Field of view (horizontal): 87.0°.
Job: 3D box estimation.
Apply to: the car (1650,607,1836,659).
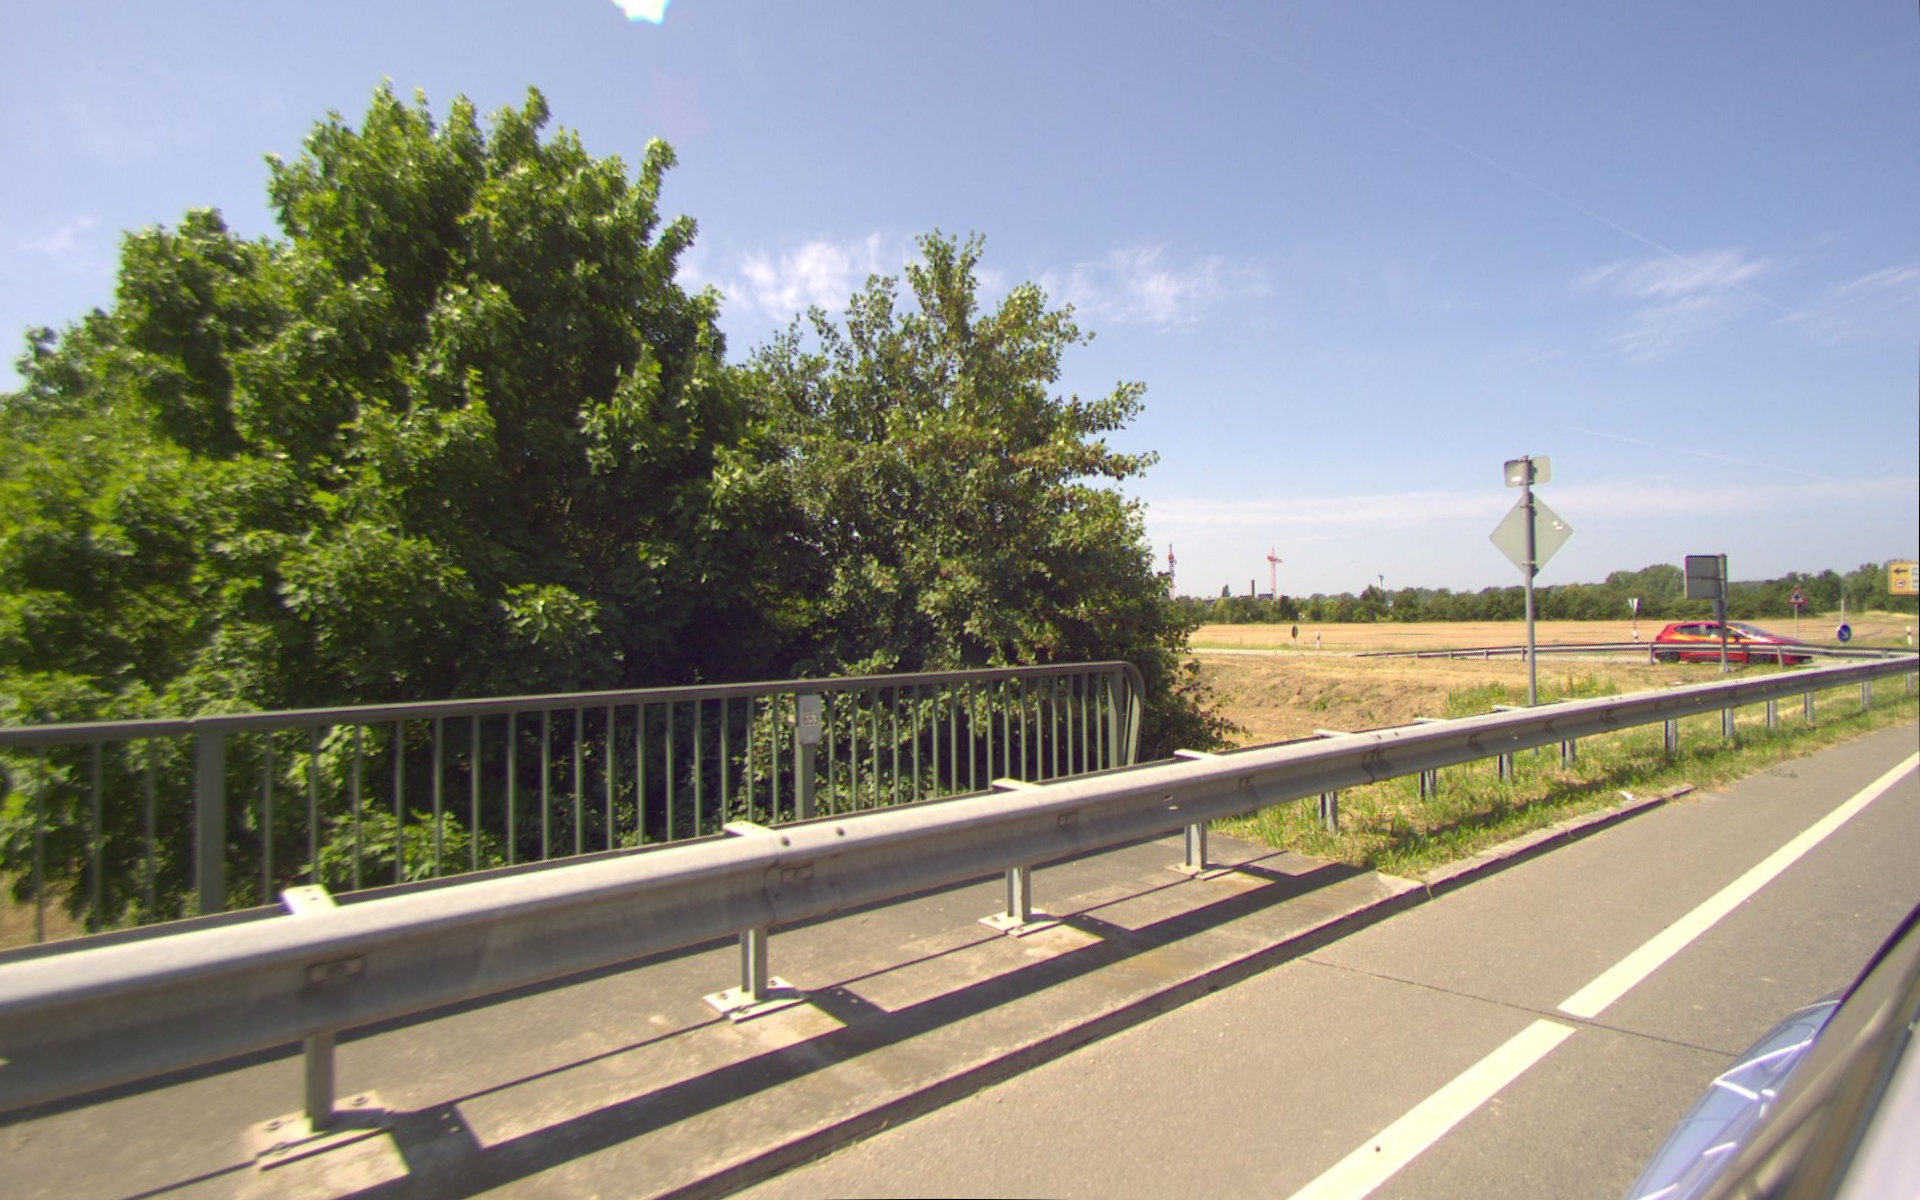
[{"bbox_3d":[24.041,1.016,31.248,1.743,1.437,4.171,-1,-1,-27],"label":"car"}]
